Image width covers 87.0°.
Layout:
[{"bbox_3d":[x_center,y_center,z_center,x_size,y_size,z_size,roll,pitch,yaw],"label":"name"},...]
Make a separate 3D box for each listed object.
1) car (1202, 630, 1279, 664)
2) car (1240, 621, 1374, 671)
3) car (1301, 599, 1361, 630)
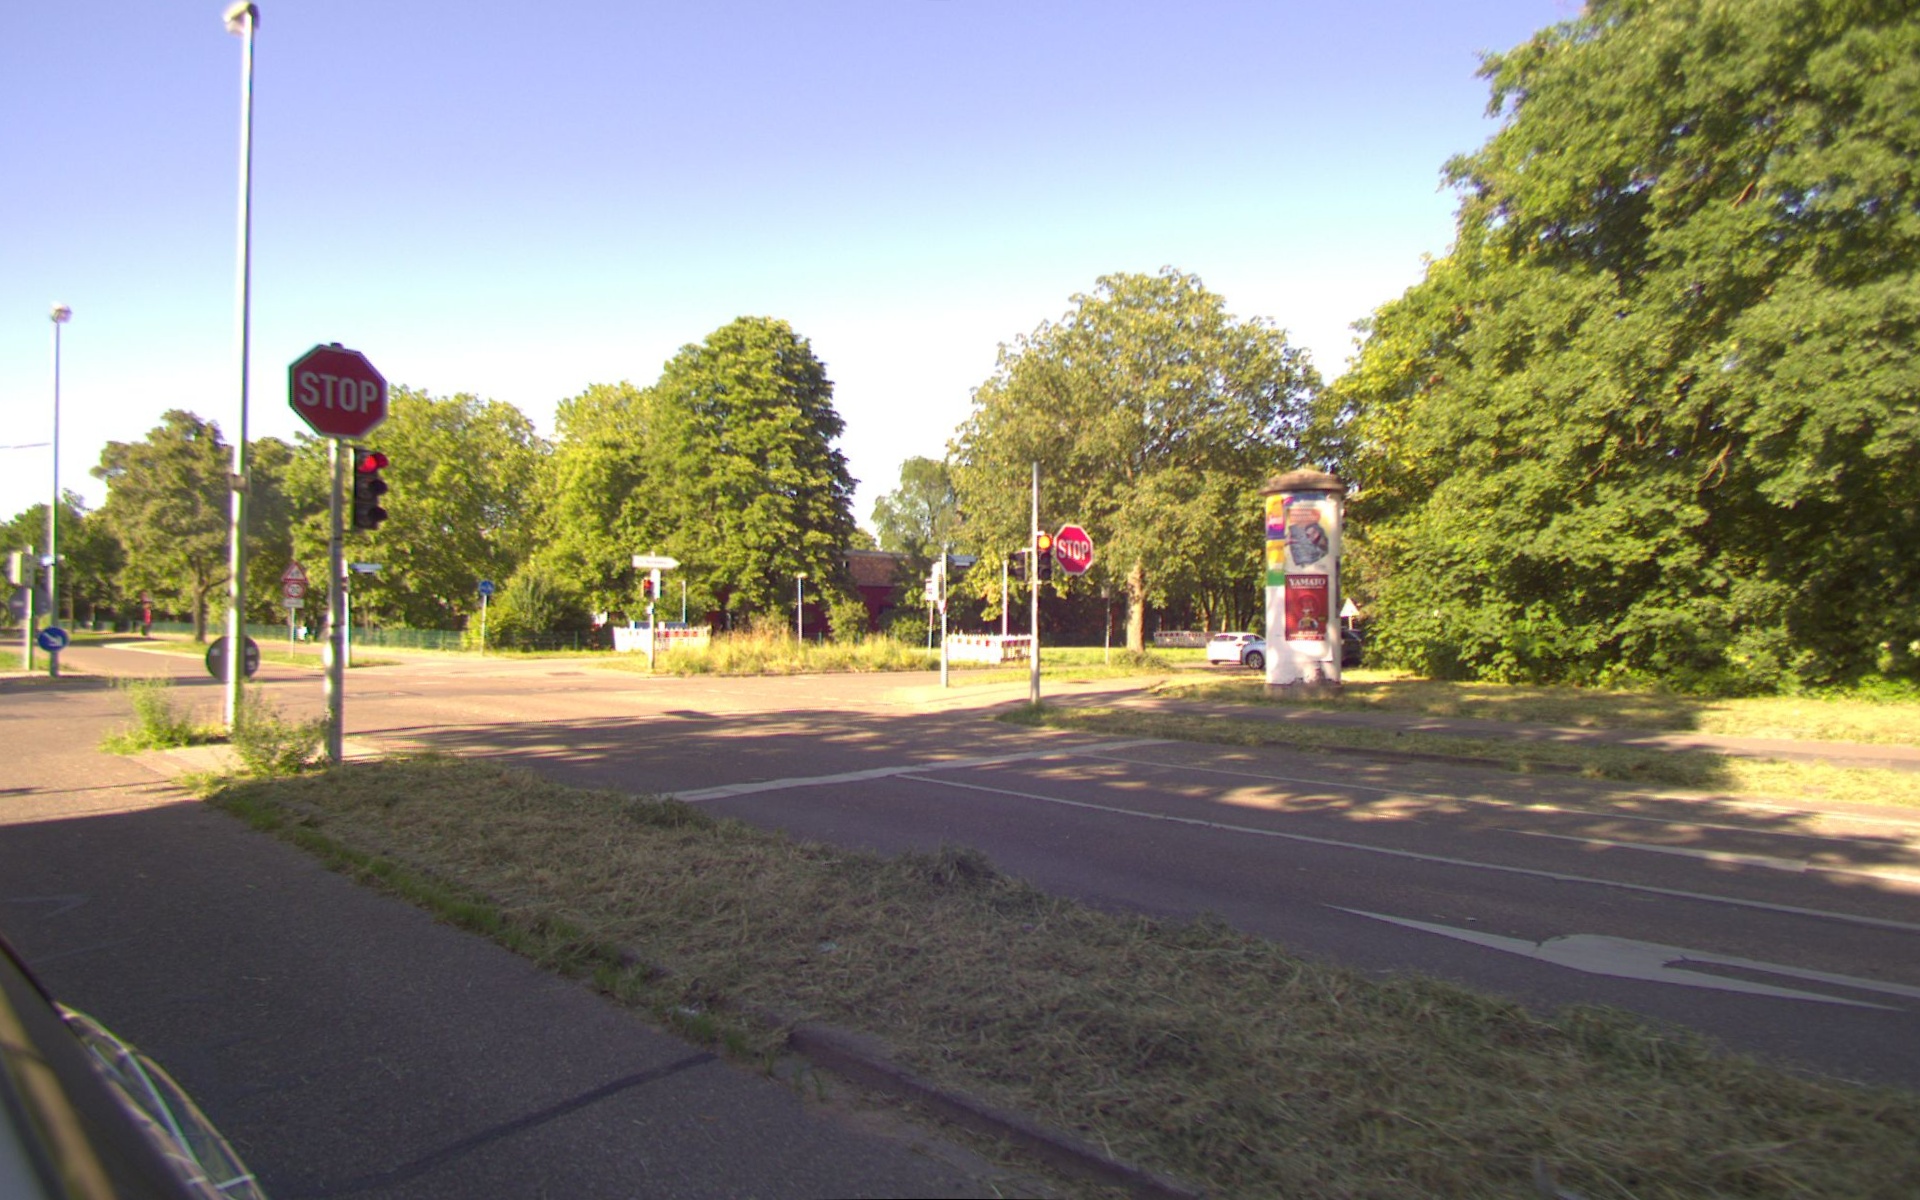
[{"bbox_3d":[13.051,2.127,46.919,1.796,1.474,3.905,-1,-1,44],"label":"car"},{"bbox_3d":[13.102,1.699,38.394,1.826,1.796,4.520,2,-2,-41],"label":"car"},{"bbox_3d":[23.016,0.914,62.682,3.941,1.830,2.001,2,-3,-45],"label":"car"}]
